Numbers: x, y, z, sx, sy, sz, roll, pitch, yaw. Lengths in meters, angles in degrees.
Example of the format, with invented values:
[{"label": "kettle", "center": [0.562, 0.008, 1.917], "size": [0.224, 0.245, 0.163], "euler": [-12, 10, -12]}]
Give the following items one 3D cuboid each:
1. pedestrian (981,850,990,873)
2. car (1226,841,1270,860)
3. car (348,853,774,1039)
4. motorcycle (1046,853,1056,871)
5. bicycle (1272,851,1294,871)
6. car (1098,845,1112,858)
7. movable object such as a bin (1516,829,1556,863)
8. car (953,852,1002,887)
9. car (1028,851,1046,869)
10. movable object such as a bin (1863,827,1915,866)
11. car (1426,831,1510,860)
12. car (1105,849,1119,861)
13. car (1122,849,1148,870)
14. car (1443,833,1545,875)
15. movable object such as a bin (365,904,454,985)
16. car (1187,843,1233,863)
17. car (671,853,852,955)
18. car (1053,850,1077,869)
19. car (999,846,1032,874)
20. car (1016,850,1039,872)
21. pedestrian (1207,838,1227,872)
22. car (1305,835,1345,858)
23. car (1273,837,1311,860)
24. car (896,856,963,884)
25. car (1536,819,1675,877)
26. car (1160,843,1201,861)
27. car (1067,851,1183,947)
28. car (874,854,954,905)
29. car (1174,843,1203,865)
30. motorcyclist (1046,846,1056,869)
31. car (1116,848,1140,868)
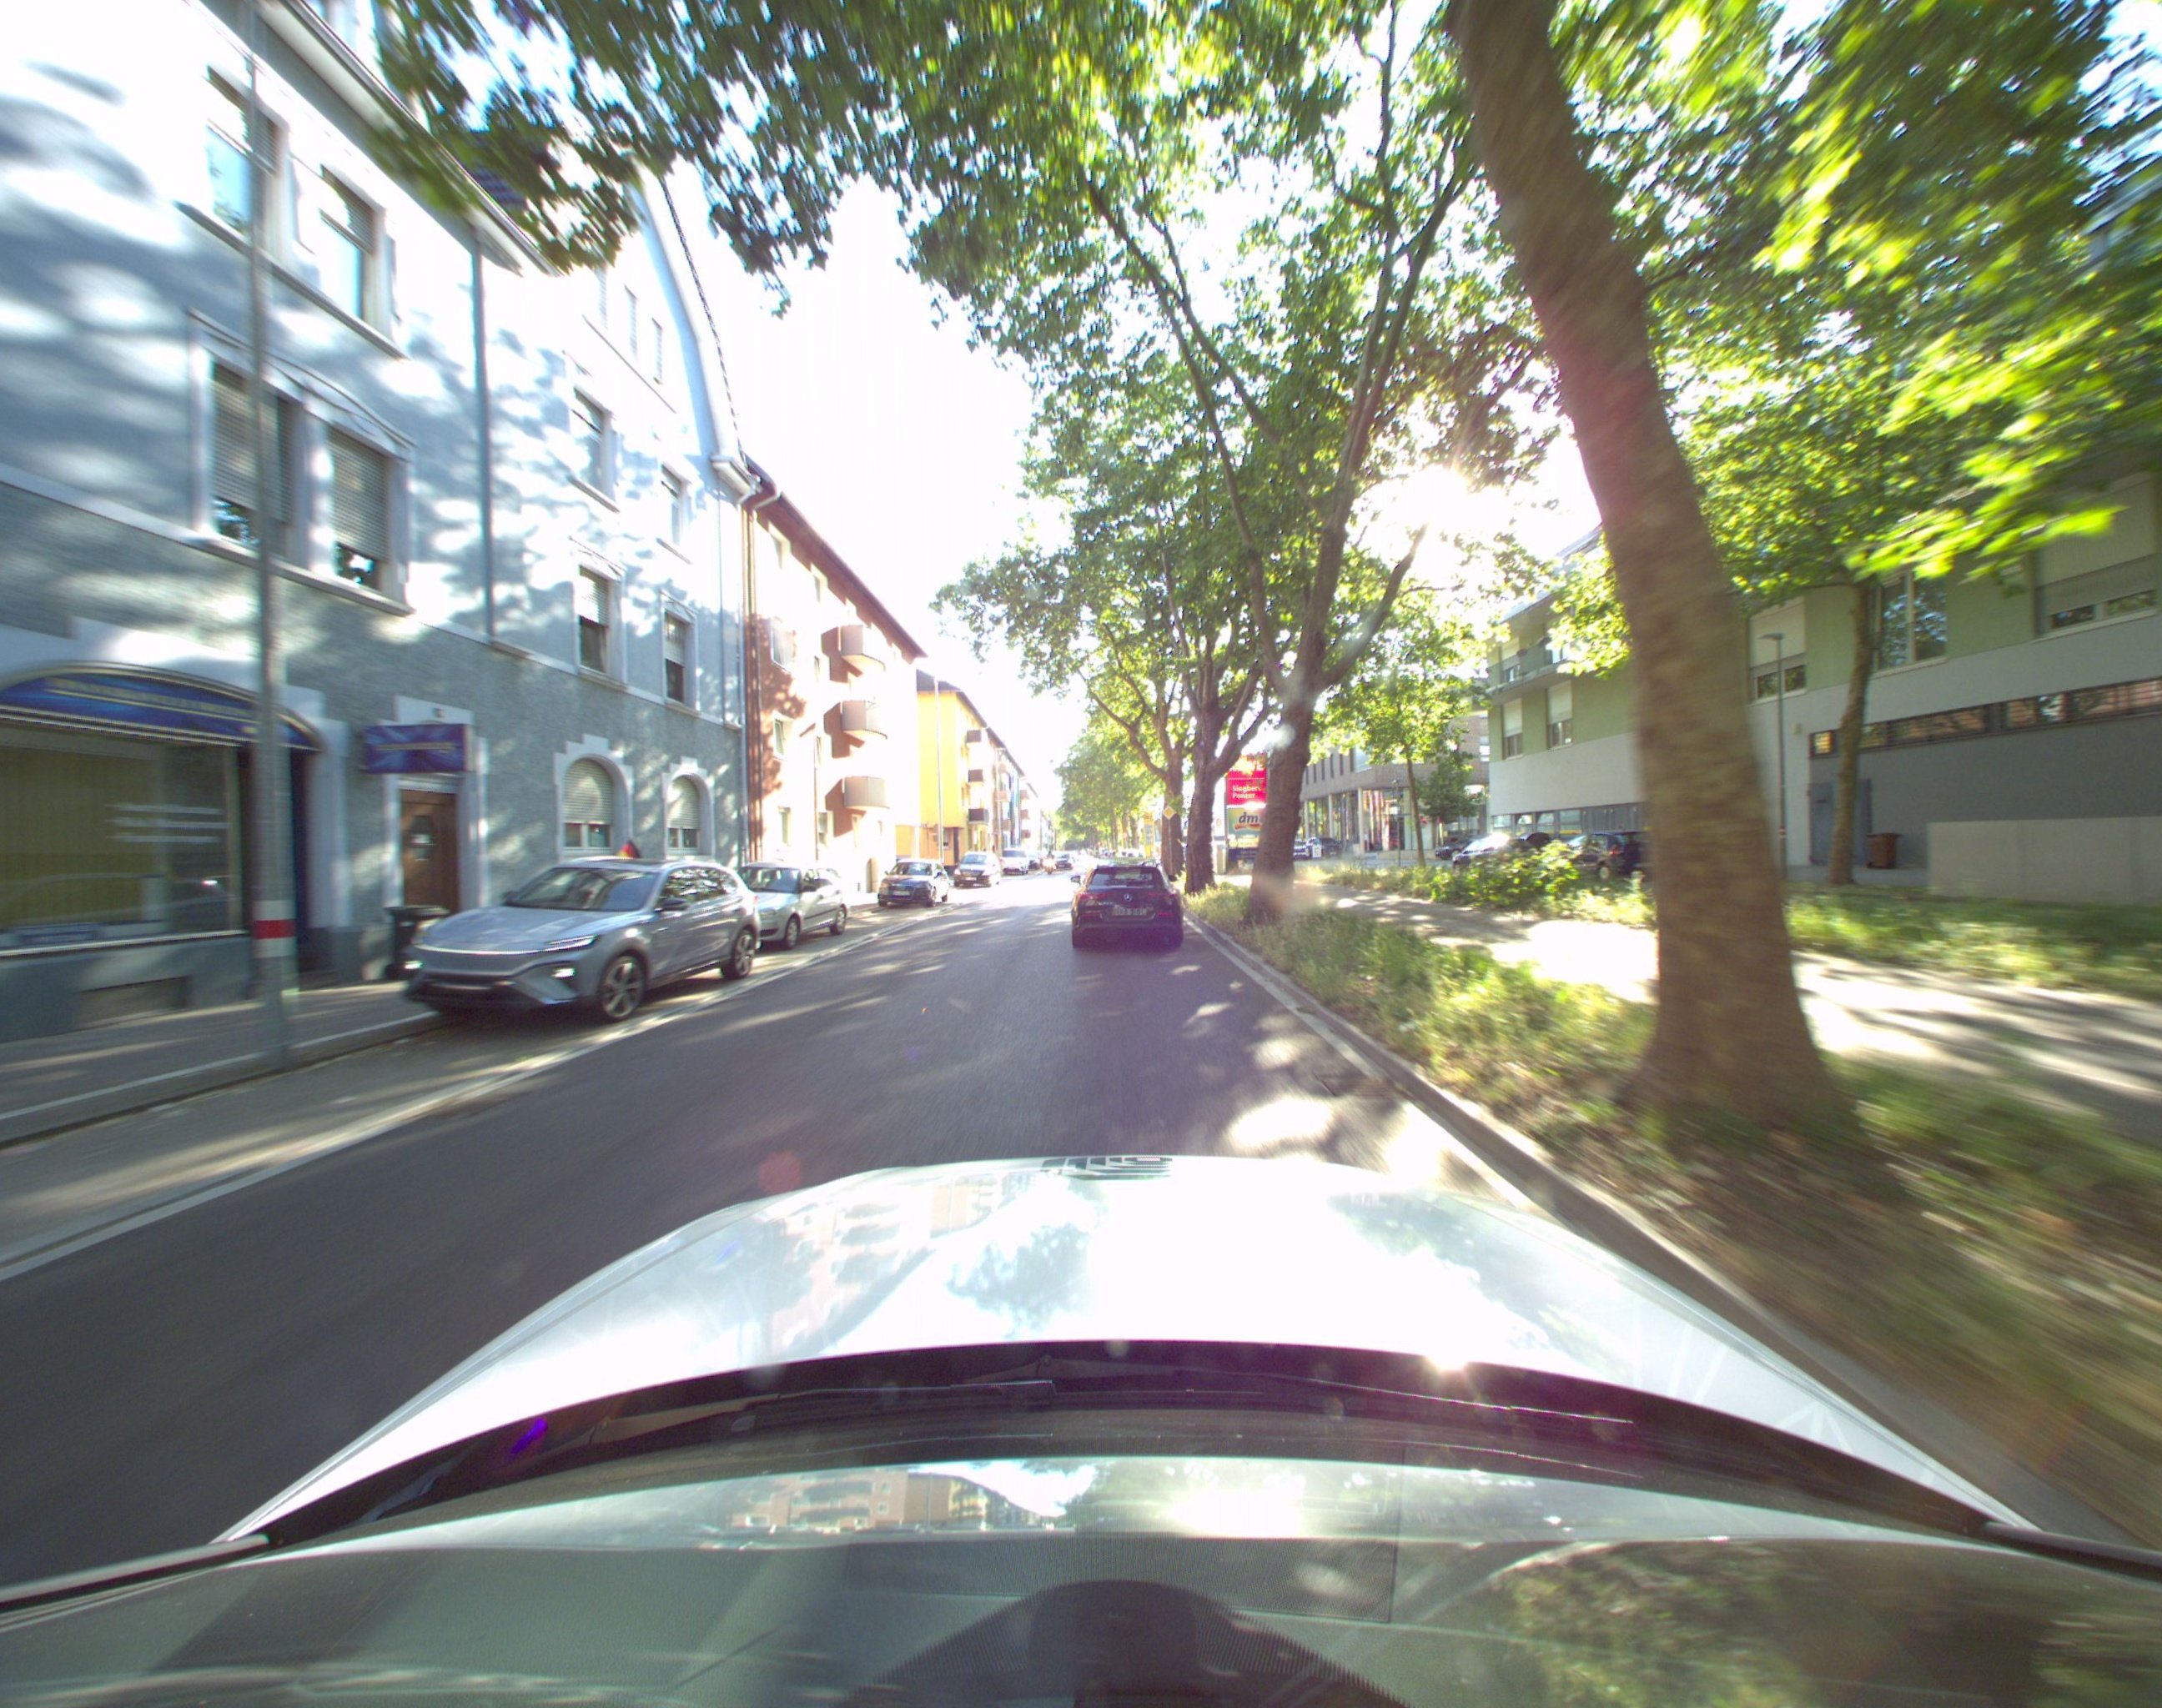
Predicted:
[{"label": "pedestrian", "center": [-7.454, 0.594, 63.691], "size": [0.585, 1.790, 0.642], "euler": [-2, 0, 1]}, {"label": "car", "center": [15.156, -0.348, 73.820], "size": [3.836, 1.511, 1.625], "euler": [-4, 1, -35]}, {"label": "car", "center": [-5.514, 0.821, 9.559], "size": [1.900, 1.641, 4.580], "euler": [0, 0, 2]}, {"label": "motorcycle", "center": [-2.137, 0.539, 57.831], "size": [0.545, 1.241, 2.264], "euler": [-4, 0, 1]}, {"label": "bicycle", "center": [10.238, 0.361, 41.276], "size": [0.383, 1.003, 1.478], "euler": [-2, 0, -15]}, {"label": "car", "center": [3.947, -0.374, 136.006], "size": [1.989, 2.014, 3.995], "euler": [-1, -1, -3]}, {"label": "movable object such as a bin", "center": [20.592, -0.374, 36.863], "size": [1.185, 1.463, 1.412], "euler": [-2, 0, 12]}, {"label": "car", "center": [-4.871, 0.698, 38.721], "size": [1.671, 1.523, 4.023], "euler": [0, 0, 2]}, {"label": "car", "center": [-4.249, 0.550, 79.236], "size": [1.592, 1.641, 4.411], "euler": [0, 0, -1]}, {"label": "movable object such as a bin", "center": [20.473, -0.197, 20.644], "size": [0.626, 0.943, 0.663], "euler": [-3, 0, 1]}, {"label": "car", "center": [25.264, -0.569, 53.244], "size": [4.471, 1.662, 2.029], "euler": [-3, 1, -2]}, {"label": "car", "center": [4.144, 0.172, 110.510], "size": [1.717, 1.557, 3.599], "euler": [0, 0, -1]}, {"label": "car", "center": [4.134, 0.408, 62.857], "size": [1.630, 1.468, 4.019], "euler": [-4, 0, -1]}, {"label": "car", "center": [16.019, -0.006, 31.847], "size": [1.853, 1.468, 4.122], "euler": [-2, 0, -1]}, {"label": "movable object such as a bin", "center": [-8.700, 1.160, 10.574], "size": [0.555, 0.946, 0.670], "euler": [-2, 0, 1]}, {"label": "car", "center": [11.220, -0.109, 70.784], "size": [3.834, 1.545, 1.645], "euler": [-2, 0, -33]}, {"label": "car", "center": [-5.782, 0.820, 15.284], "size": [1.671, 1.641, 3.987], "euler": [0, 0, 2]}, {"label": "car", "center": [-1.360, 0.474, 69.241], "size": [1.765, 1.478, 4.323], "euler": [-3, 0, 1]}, {"label": "car", "center": [-4.693, 0.403, 59.145], "size": [1.727, 1.907, 5.212], "euler": [-1, 0, 2]}, {"label": "car", "center": [-4.695, 0.577, 71.475], "size": [1.740, 1.787, 4.548], "euler": [0, 0, -1]}, {"label": "pedestrian", "center": [7.287, 0.045, 43.653], "size": [0.767, 1.761, 0.662], "euler": [-4, 0, -9]}, {"label": "car", "center": [19.524, -0.576, 65.388], "size": [1.978, 1.733, 4.182], "euler": [-2, 0, 1]}, {"label": "car", "center": [16.952, -0.425, 65.616], "size": [1.871, 1.733, 4.178], "euler": [-2, 0, -2]}, {"label": "car", "center": [-9.476, 0.980, 51.206], "size": [3.770, 1.566, 1.749], "euler": [-2, 0, 1]}, {"label": "car", "center": [15.830, -0.174, 24.823], "size": [1.852, 1.552, 3.760], "euler": [-2, 0, 1]}, {"label": "car", "center": [9.681, -0.179, 79.227], "size": [3.838, 1.578, 1.727], "euler": [-4, 1, -37]}, {"label": "car", "center": [0.774, 0.671, 14.253], "size": [1.737, 1.443, 3.972], "euler": [0, 0, 3]}, {"label": "car", "center": [-5.229, 0.757, 25.905], "size": [1.671, 1.486, 3.603], "euler": [0, 0, 2]}, {"label": "car", "center": [8.681, -0.005, 65.796], "size": [1.746, 1.670, 4.157], "euler": [-2, -1, 0]}, {"label": "motorcyclist", "center": [-2.131, 0.216, 57.845], "size": [0.584, 1.605, 0.831], "euler": [-2, 0, 0]}, {"label": "car", "center": [4.014, 0.363, 69.802], "size": [1.804, 1.538, 4.584], "euler": [-5, 0, 1]}]
